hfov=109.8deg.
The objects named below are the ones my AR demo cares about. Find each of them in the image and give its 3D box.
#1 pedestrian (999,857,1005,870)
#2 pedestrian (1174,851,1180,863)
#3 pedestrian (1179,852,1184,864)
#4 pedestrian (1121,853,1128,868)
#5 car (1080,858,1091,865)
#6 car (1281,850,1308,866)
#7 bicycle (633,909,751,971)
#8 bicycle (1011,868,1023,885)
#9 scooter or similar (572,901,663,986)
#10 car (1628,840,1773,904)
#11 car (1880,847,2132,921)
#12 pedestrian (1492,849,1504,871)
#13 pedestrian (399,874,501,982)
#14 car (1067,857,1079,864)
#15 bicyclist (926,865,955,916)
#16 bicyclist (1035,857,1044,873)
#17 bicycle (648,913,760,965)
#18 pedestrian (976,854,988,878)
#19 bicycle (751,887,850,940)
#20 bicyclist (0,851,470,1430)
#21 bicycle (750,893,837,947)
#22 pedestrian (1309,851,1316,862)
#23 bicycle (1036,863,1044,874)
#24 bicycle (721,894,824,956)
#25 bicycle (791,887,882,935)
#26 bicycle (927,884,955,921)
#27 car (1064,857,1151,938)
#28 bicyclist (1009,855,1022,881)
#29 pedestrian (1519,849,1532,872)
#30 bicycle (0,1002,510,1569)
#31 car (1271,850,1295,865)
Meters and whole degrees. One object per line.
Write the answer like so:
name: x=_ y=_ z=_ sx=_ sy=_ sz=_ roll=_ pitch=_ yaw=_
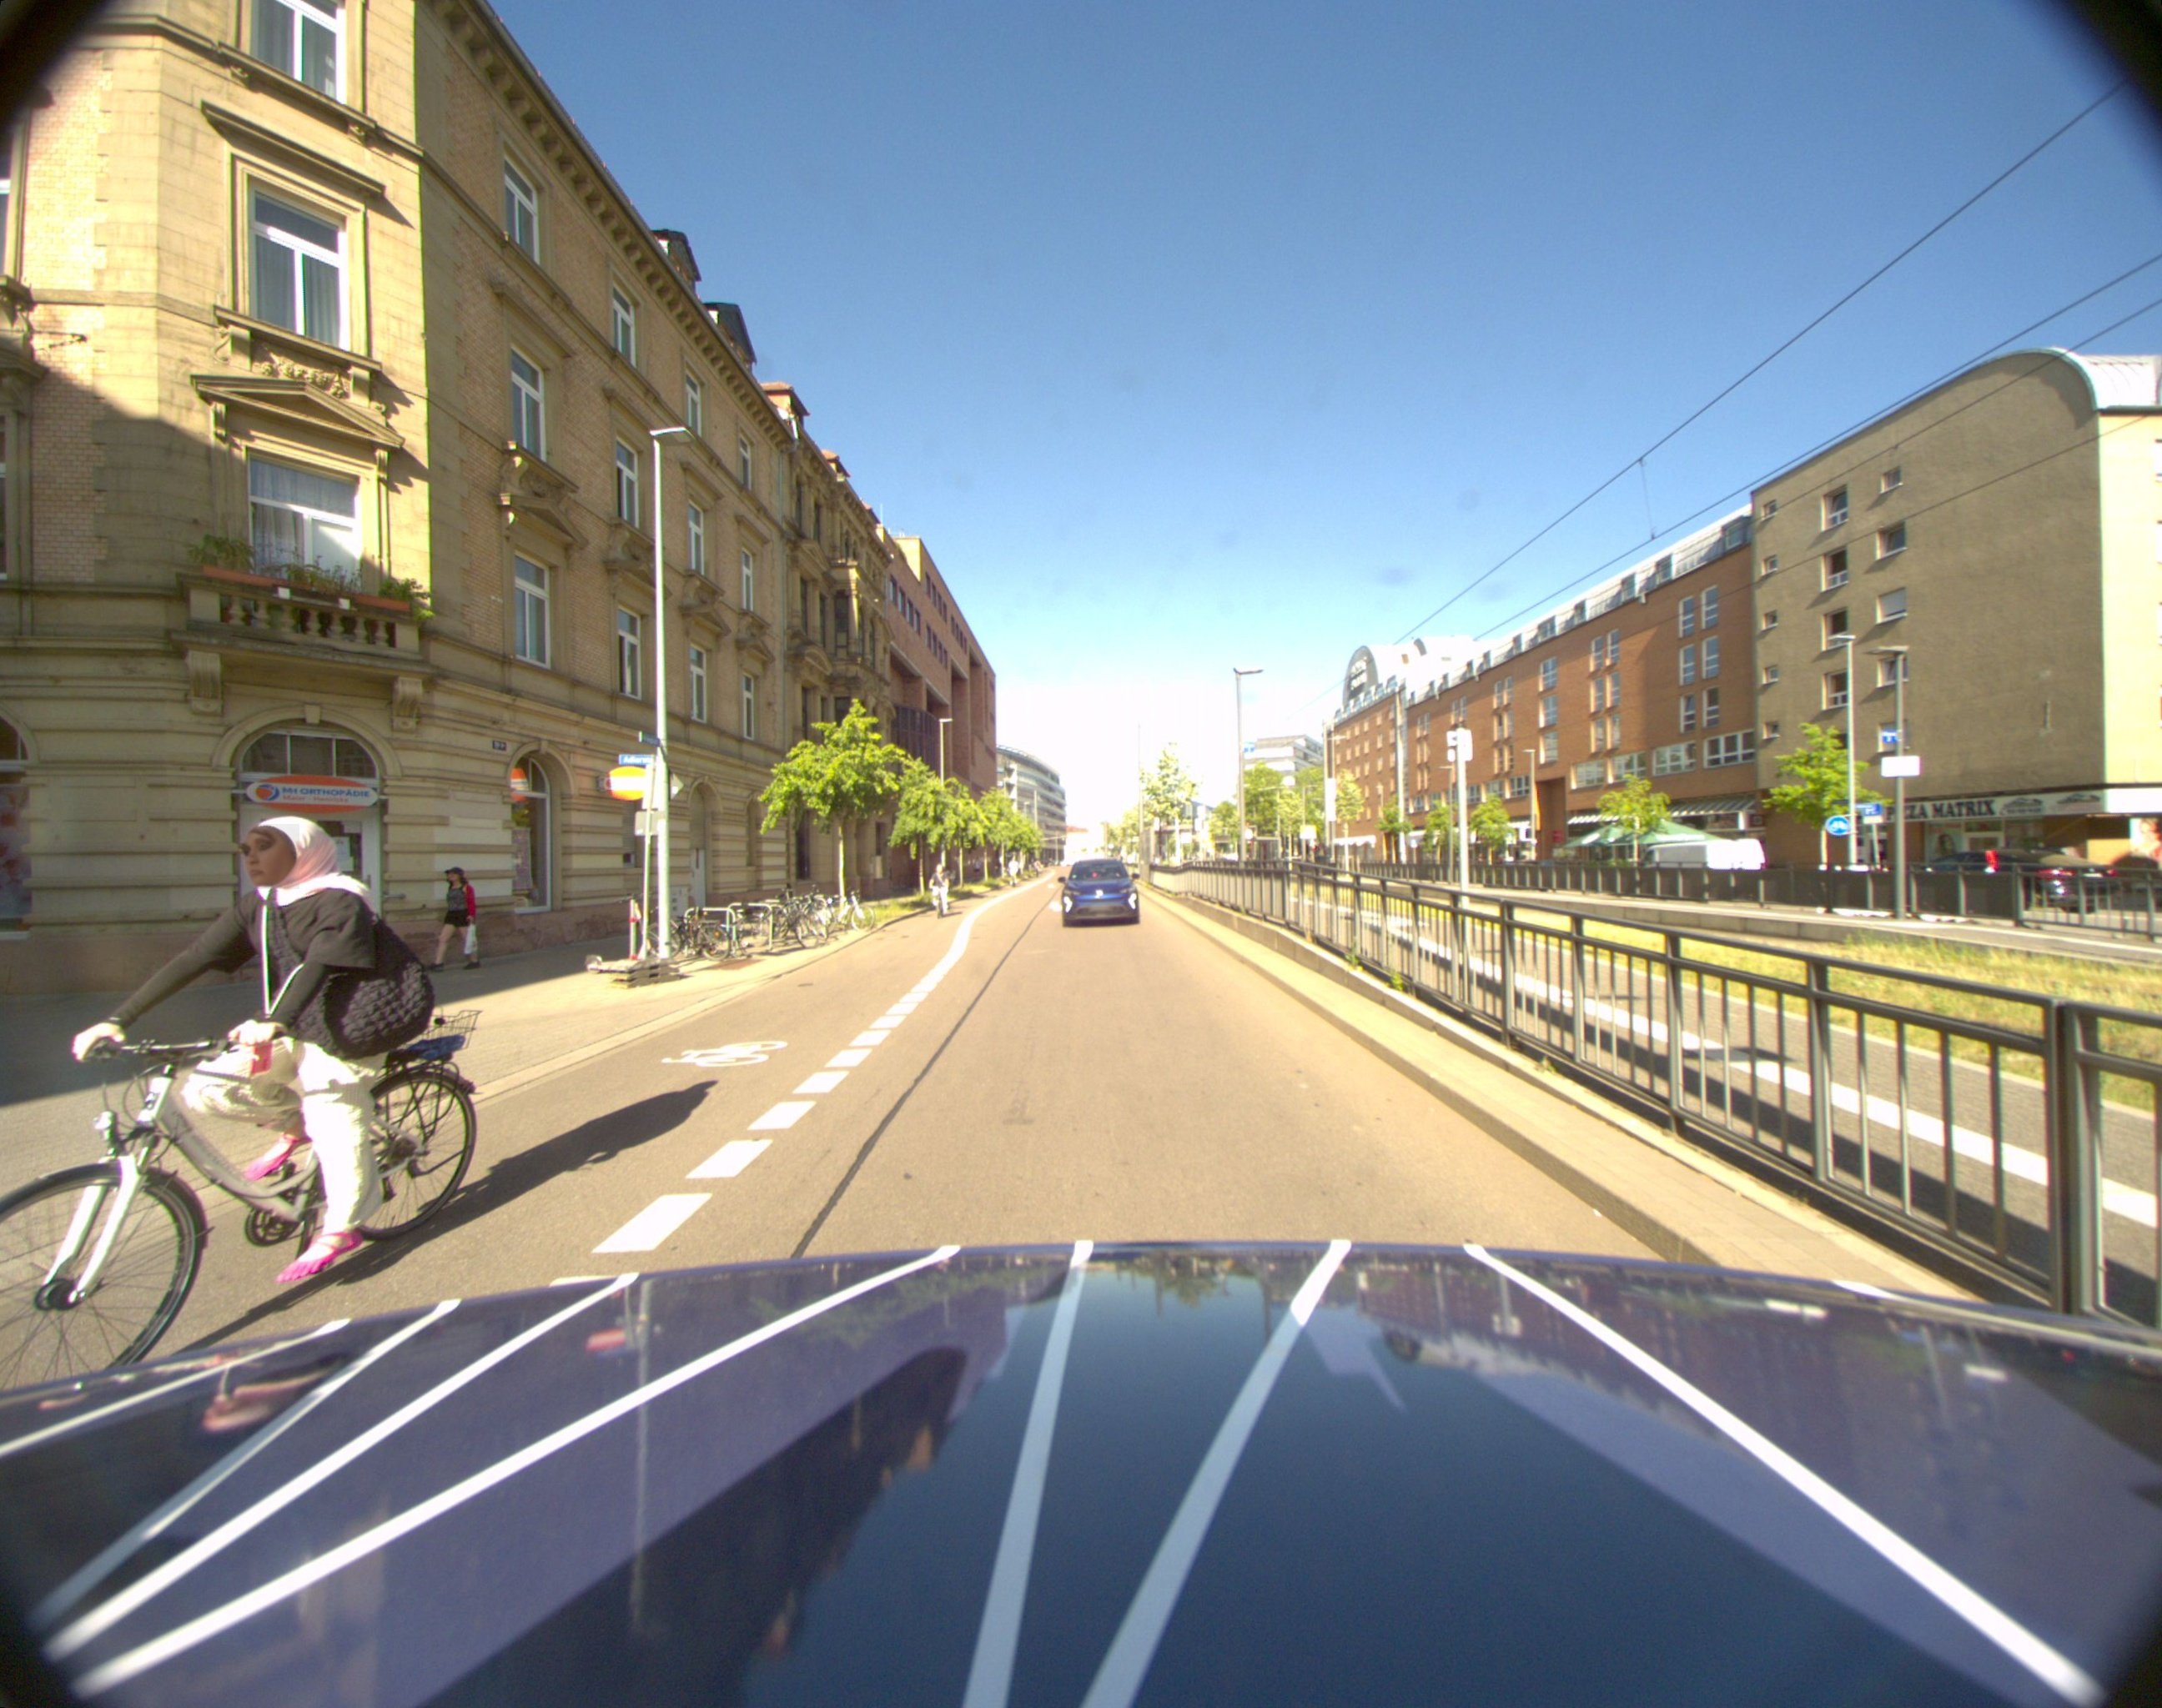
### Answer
pedestrian: x=-8.699 y=1.024 z=83.815 sx=0.633 sy=1.478 sz=0.736 roll=-1 pitch=1 yaw=0
pedestrian: x=13.335 y=0.405 z=105.369 sx=0.608 sy=1.560 sz=0.729 roll=-1 pitch=0 yaw=24
pedestrian: x=13.664 y=0.527 z=103.378 sx=0.609 sy=1.560 sz=0.909 roll=-2 pitch=0 yaw=14
pedestrian: x=5.123 y=0.786 z=89.382 sx=0.710 sy=1.713 sz=0.752 roll=-1 pitch=1 yaw=-1
car: x=0.980 y=1.723 z=172.240 sx=1.882 sy=1.455 sz=4.002 roll=-2 pitch=1 yaw=8
car: x=24.024 y=0.460 z=85.604 sx=1.998 sy=1.674 sz=3.999 roll=-2 pitch=1 yaw=1
bicycle: x=-6.394 y=1.400 z=12.510 sx=1.673 sy=0.938 sz=0.607 roll=0 pitch=0 yaw=8
bicycle: x=-4.268 y=1.512 z=50.713 sx=0.578 sy=1.090 sz=1.507 roll=-3 pitch=0 yaw=2
scooter or similar: x=-6.765 y=1.295 z=11.104 sx=1.113 sy=1.183 sz=0.419 roll=0 pitch=0 yaw=8
car: x=25.349 y=0.679 z=31.423 sx=1.997 sy=2.356 sz=5.649 roll=-1 pitch=0 yaw=8
car: x=24.229 y=0.721 z=20.177 sx=1.819 sy=1.749 sz=4.000 roll=-1 pitch=0 yaw=0
pedestrian: x=35.617 y=0.491 z=64.862 sx=0.622 sy=1.830 sz=0.644 roll=-1 pitch=1 yaw=-1
pedestrian: x=-9.448 y=1.084 z=11.417 sx=0.711 sy=1.533 sz=0.927 roll=-1 pitch=1 yaw=3
car: x=-1.811 y=1.471 z=173.840 sx=2.120 sy=1.547 sz=4.003 roll=-1 pitch=0 yaw=9
bicyclist: x=-4.383 y=1.140 z=23.804 sx=0.659 sy=1.528 sz=0.909 roll=-3 pitch=0 yaw=0
bicyclist: x=-4.266 y=1.118 z=78.423 sx=0.755 sy=1.607 sz=0.762 roll=-3 pitch=0 yaw=4
bicycle: x=-6.523 y=1.464 z=13.178 sx=1.673 sy=0.816 sz=0.607 roll=0 pitch=0 yaw=7
pedestrian: x=-7.936 y=0.974 z=60.932 sx=0.790 sy=1.872 sz=1.106 roll=-1 pitch=1 yaw=0
bicycle: x=-6.447 y=1.351 z=17.522 sx=1.999 sy=1.121 sz=0.710 roll=1 pitch=0 yaw=2
bicyclist: x=-2.968 y=0.861 z=2.704 sx=0.781 sy=1.701 sz=0.868 roll=-3 pitch=0 yaw=0
bicycle: x=-6.127 y=1.399 z=16.206 sx=1.603 sy=1.039 sz=0.607 roll=1 pitch=0 yaw=4
pedestrian: x=34.850 y=0.382 z=114.409 sx=0.716 sy=1.745 sz=0.779 roll=-1 pitch=0 yaw=1
bicycle: x=-4.249 y=1.476 z=78.434 sx=0.578 sy=1.090 sz=1.507 roll=-3 pitch=0 yaw=3
bicycle: x=-5.924 y=1.354 z=14.647 sx=1.727 sy=1.094 sz=0.607 roll=1 pitch=0 yaw=4
bicycle: x=-6.011 y=1.396 z=18.756 sx=2.001 sy=1.086 sz=0.846 roll=1 pitch=0 yaw=-9
bicycle: x=-4.363 y=1.492 z=23.770 sx=0.558 sy=1.021 sz=1.507 roll=-3 pitch=0 yaw=0
car: x=0.587 y=0.945 z=18.303 sx=1.802 sy=1.596 sz=3.999 roll=-2 pitch=1 yaw=1
bicyclist: x=-4.348 y=0.915 z=50.628 sx=0.684 sy=1.718 sz=0.909 roll=-3 pitch=0 yaw=2
pedestrian: x=35.002 y=0.505 z=59.841 sx=0.622 sy=1.830 sz=0.645 roll=-1 pitch=1 yaw=1
bicycle: x=-2.987 y=1.248 z=2.663 sx=0.558 sy=1.086 sz=1.792 roll=-3 pitch=0 yaw=0
car: x=25.138 y=0.442 z=94.667 sx=1.998 sy=1.674 sz=3.999 roll=-2 pitch=1 yaw=1
